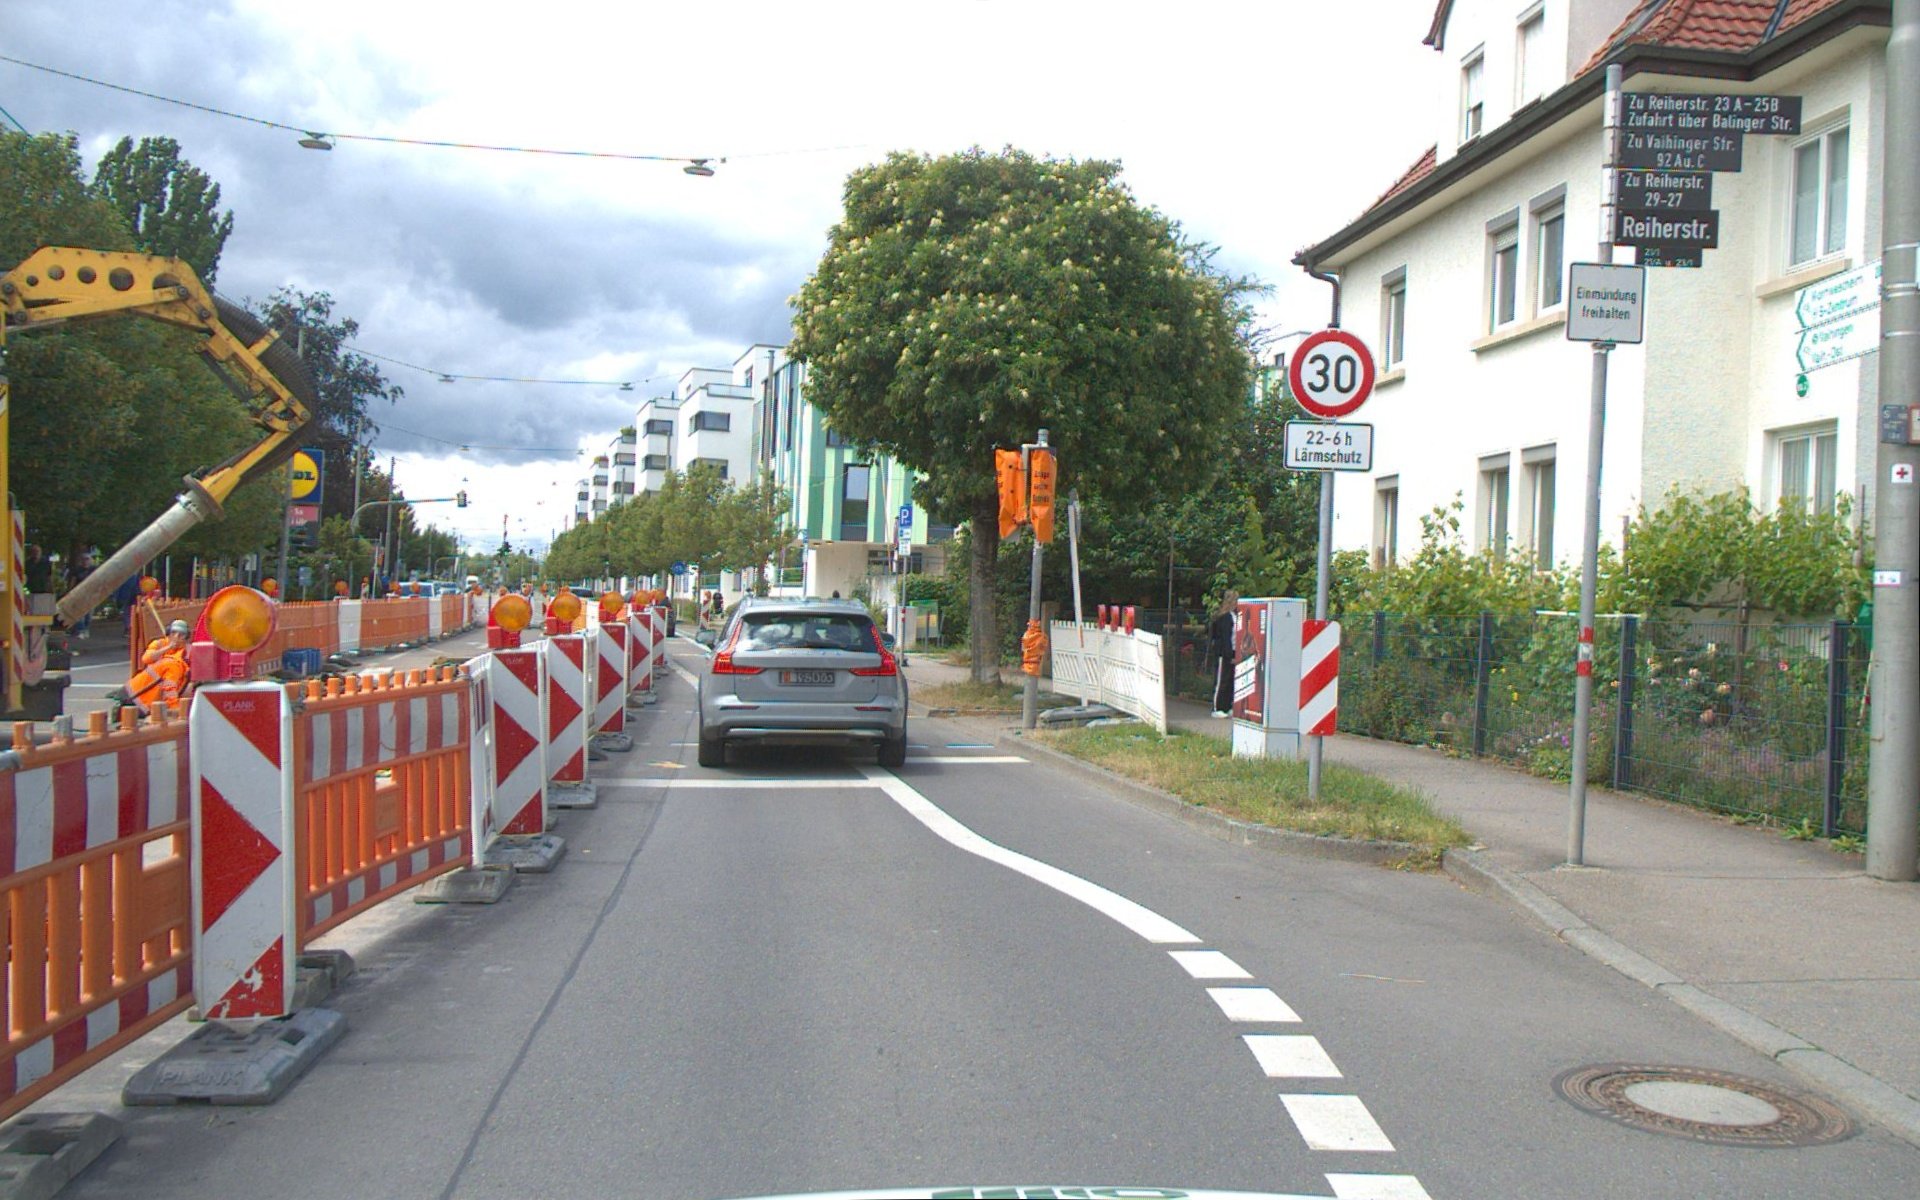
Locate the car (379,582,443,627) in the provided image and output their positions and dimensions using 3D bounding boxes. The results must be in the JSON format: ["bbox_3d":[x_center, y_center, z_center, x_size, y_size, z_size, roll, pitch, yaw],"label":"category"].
[{"bbox_3d":[-19.659,0.155,59.391,1.823,1.478,3.985,3,0,-14],"label":"car"}]

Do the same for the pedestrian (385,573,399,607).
[{"bbox_3d":[-31.892,-0.540,92.896,0.670,1.887,0.888,2,-1,-17],"label":"pedestrian"}]

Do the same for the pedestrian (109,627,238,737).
[{"bbox_3d":[-7.600,0.777,16.015,0.774,1.008,0.812,1,0,12],"label":"pedestrian"}]

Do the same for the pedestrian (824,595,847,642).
[{"bbox_3d":[-4.294,0.628,56.865,0.571,1.579,0.865,2,0,-17],"label":"pedestrian"}]

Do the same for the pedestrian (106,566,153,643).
[{"bbox_3d":[-17.993,0.102,35.847,0.741,1.631,0.825,2,0,-19],"label":"pedestrian"}]

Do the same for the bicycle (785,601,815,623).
[{"bbox_3d":[-7.779,0.582,80.604,1.448,1.064,0.304,2,0,-29],"label":"bicycle"}]

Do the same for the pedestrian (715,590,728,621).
[{"bbox_3d":[-13.093,0.279,90.842,0.595,1.684,0.549,2,0,-17],"label":"pedestrian"}]

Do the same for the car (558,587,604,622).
[{"bbox_3d":[-18.351,0.201,79.977,1.816,1.539,3.981,3,0,-17],"label":"car"}]

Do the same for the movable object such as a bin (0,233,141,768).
[{"bbox_3d":[-8.878,-0.811,10.076,2.539,4.295,11.116,1,0,-2],"label":"movable object such as a bin"}]

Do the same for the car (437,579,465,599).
[{"bbox_3d":[-41.799,-0.875,135.822,1.822,1.539,3.987,2,0,-12],"label":"car"}]

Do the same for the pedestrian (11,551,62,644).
[{"bbox_3d":[-19.036,-0.042,34.108,0.612,1.879,0.623,2,0,12],"label":"pedestrian"}]

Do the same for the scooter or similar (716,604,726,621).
[{"bbox_3d":[-13.029,0.668,90.268,0.415,0.921,0.678,2,0,-17],"label":"scooter or similar"}]

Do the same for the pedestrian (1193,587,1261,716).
[{"bbox_3d":[3.319,0.634,20.579,0.627,1.566,0.517,1,0,-29],"label":"pedestrian"}]

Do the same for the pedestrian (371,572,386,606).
[{"bbox_3d":[-32.588,-0.621,92.684,0.670,1.887,0.703,2,-1,-17],"label":"pedestrian"}]

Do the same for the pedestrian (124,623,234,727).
[{"bbox_3d":[-8.012,0.755,16.983,0.627,1.008,0.793,1,0,22],"label":"pedestrian"}]

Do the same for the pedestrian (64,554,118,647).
[{"bbox_3d":[-17.851,0.008,33.993,0.680,1.879,0.623,2,0,12],"label":"pedestrian"}]

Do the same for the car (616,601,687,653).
[{"bbox_3d":[-10.430,0.894,55.703,1.825,1.539,3.981,3,0,-17],"label":"car"}]

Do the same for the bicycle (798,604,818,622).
[{"bbox_3d":[-7.300,0.619,79.629,0.301,0.856,1.019,1,0,40],"label":"bicycle"}]

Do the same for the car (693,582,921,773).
[{"bbox_3d":[-1.563,0.634,15.549,1.820,1.539,3.991,1,0,-9],"label":"car"}]
